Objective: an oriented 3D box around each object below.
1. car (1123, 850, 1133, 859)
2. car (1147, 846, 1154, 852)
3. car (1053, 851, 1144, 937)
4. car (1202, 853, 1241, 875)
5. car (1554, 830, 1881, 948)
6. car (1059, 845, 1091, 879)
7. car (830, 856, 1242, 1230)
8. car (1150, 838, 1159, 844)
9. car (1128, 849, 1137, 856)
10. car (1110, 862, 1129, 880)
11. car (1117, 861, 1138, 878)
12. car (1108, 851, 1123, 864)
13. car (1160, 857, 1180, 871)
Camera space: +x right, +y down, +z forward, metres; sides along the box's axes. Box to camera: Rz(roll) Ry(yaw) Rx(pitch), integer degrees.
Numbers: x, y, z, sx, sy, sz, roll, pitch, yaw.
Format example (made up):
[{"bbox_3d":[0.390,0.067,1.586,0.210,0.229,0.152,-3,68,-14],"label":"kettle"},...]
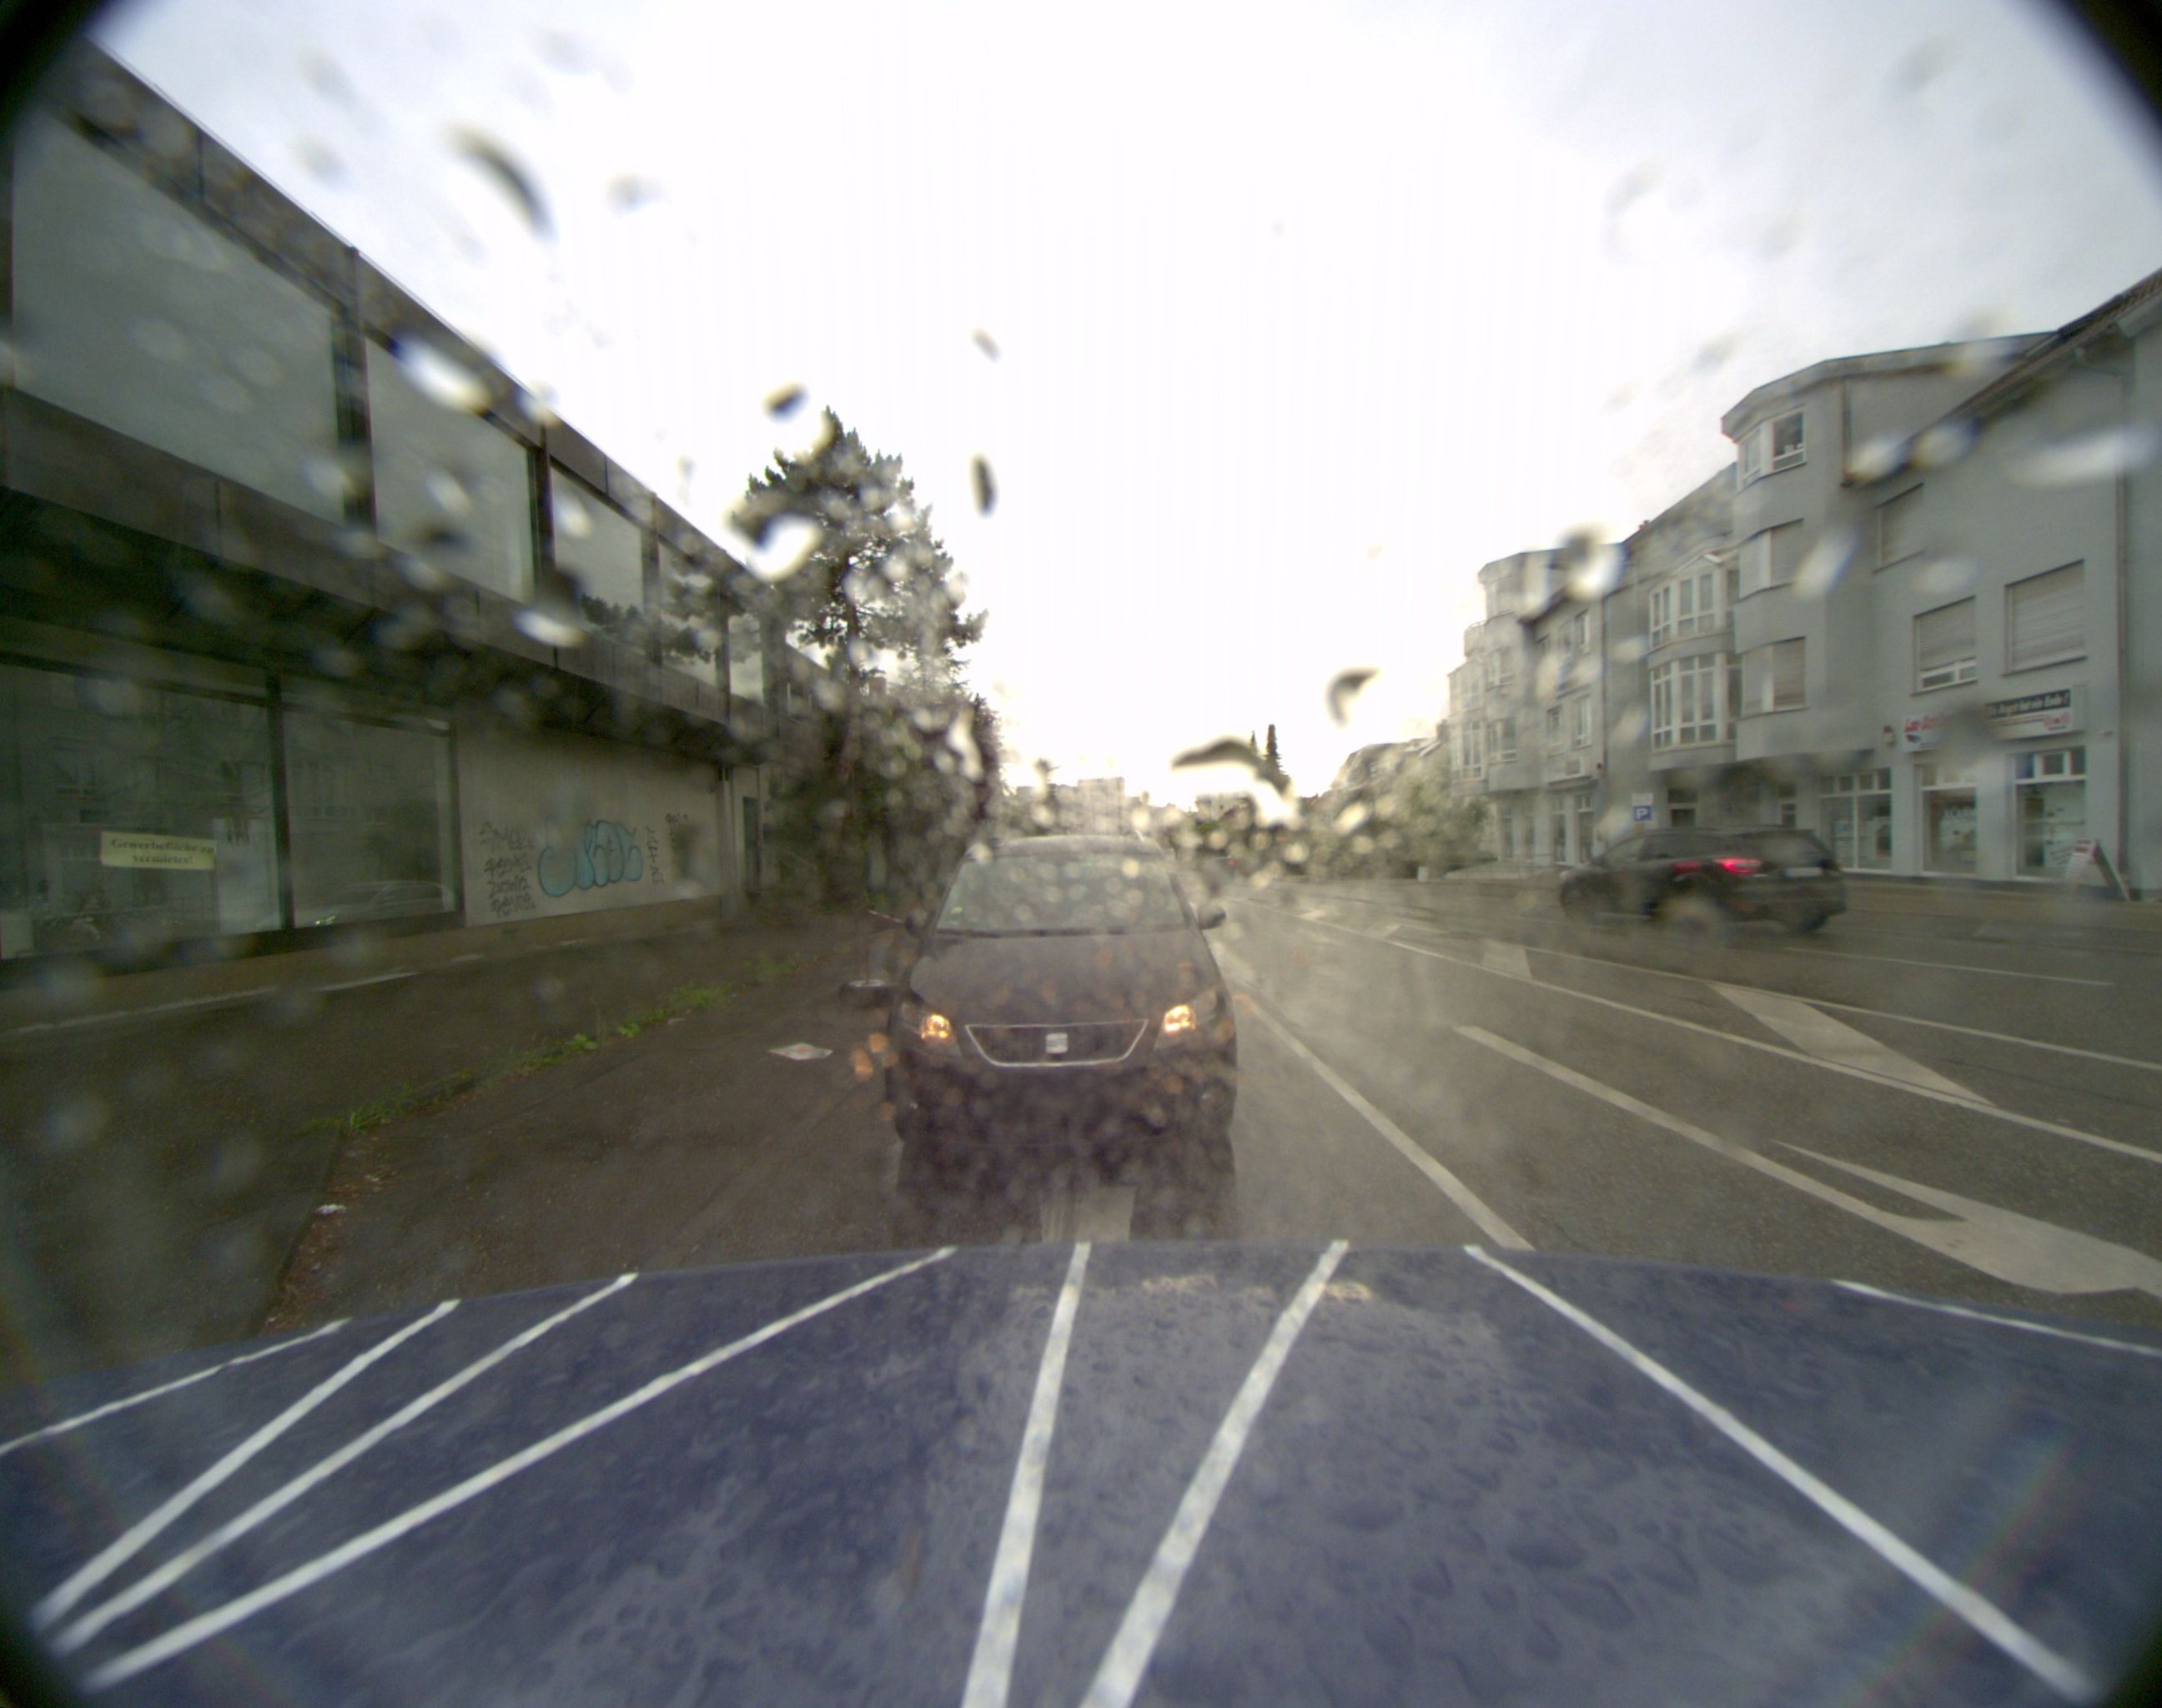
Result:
[{"bbox_3d":[10.974,0.024,177.253,1.998,2.002,3.999,-2,1,1],"label":"car"},{"bbox_3d":[20.068,-1.486,220.292,1.748,1.664,3.591,-2,1,1],"label":"car"},{"bbox_3d":[0.383,0.818,17.558,1.803,1.675,3.999,-2,1,1],"label":"car"},{"bbox_3d":[10.424,0.731,56.619,1.972,1.503,3.999,-2,1,-2],"label":"car"},{"bbox_3d":[10.131,0.487,12.623,1.884,1.588,4.184,-1,0,-1],"label":"car"},{"bbox_3d":[-0.353,0.467,50.405,1.998,2.072,3.999,-2,1,1],"label":"car"},{"bbox_3d":[-0.162,0.829,5.630,1.754,1.534,4.676,-1,1,1],"label":"car"},{"bbox_3d":[23.444,-4.107,241.873,1.996,1.808,4.003,-2,1,14],"label":"car"},{"bbox_3d":[13.141,-0.441,193.534,1.998,1.808,3.999,-2,1,1],"label":"car"},{"bbox_3d":[3.707,1.656,74.416,1.663,1.584,3.592,-2,0,0],"label":"car"},{"bbox_3d":[5.133,1.687,84.145,1.998,1.723,3.999,-2,1,1],"label":"car"},{"bbox_3d":[5.046,0.455,111.176,1.998,1.774,3.999,-2,1,1],"label":"car"},{"bbox_3d":[11.189,1.282,95.843,1.998,1.615,4.539,-3,0,1],"label":"car"}]
